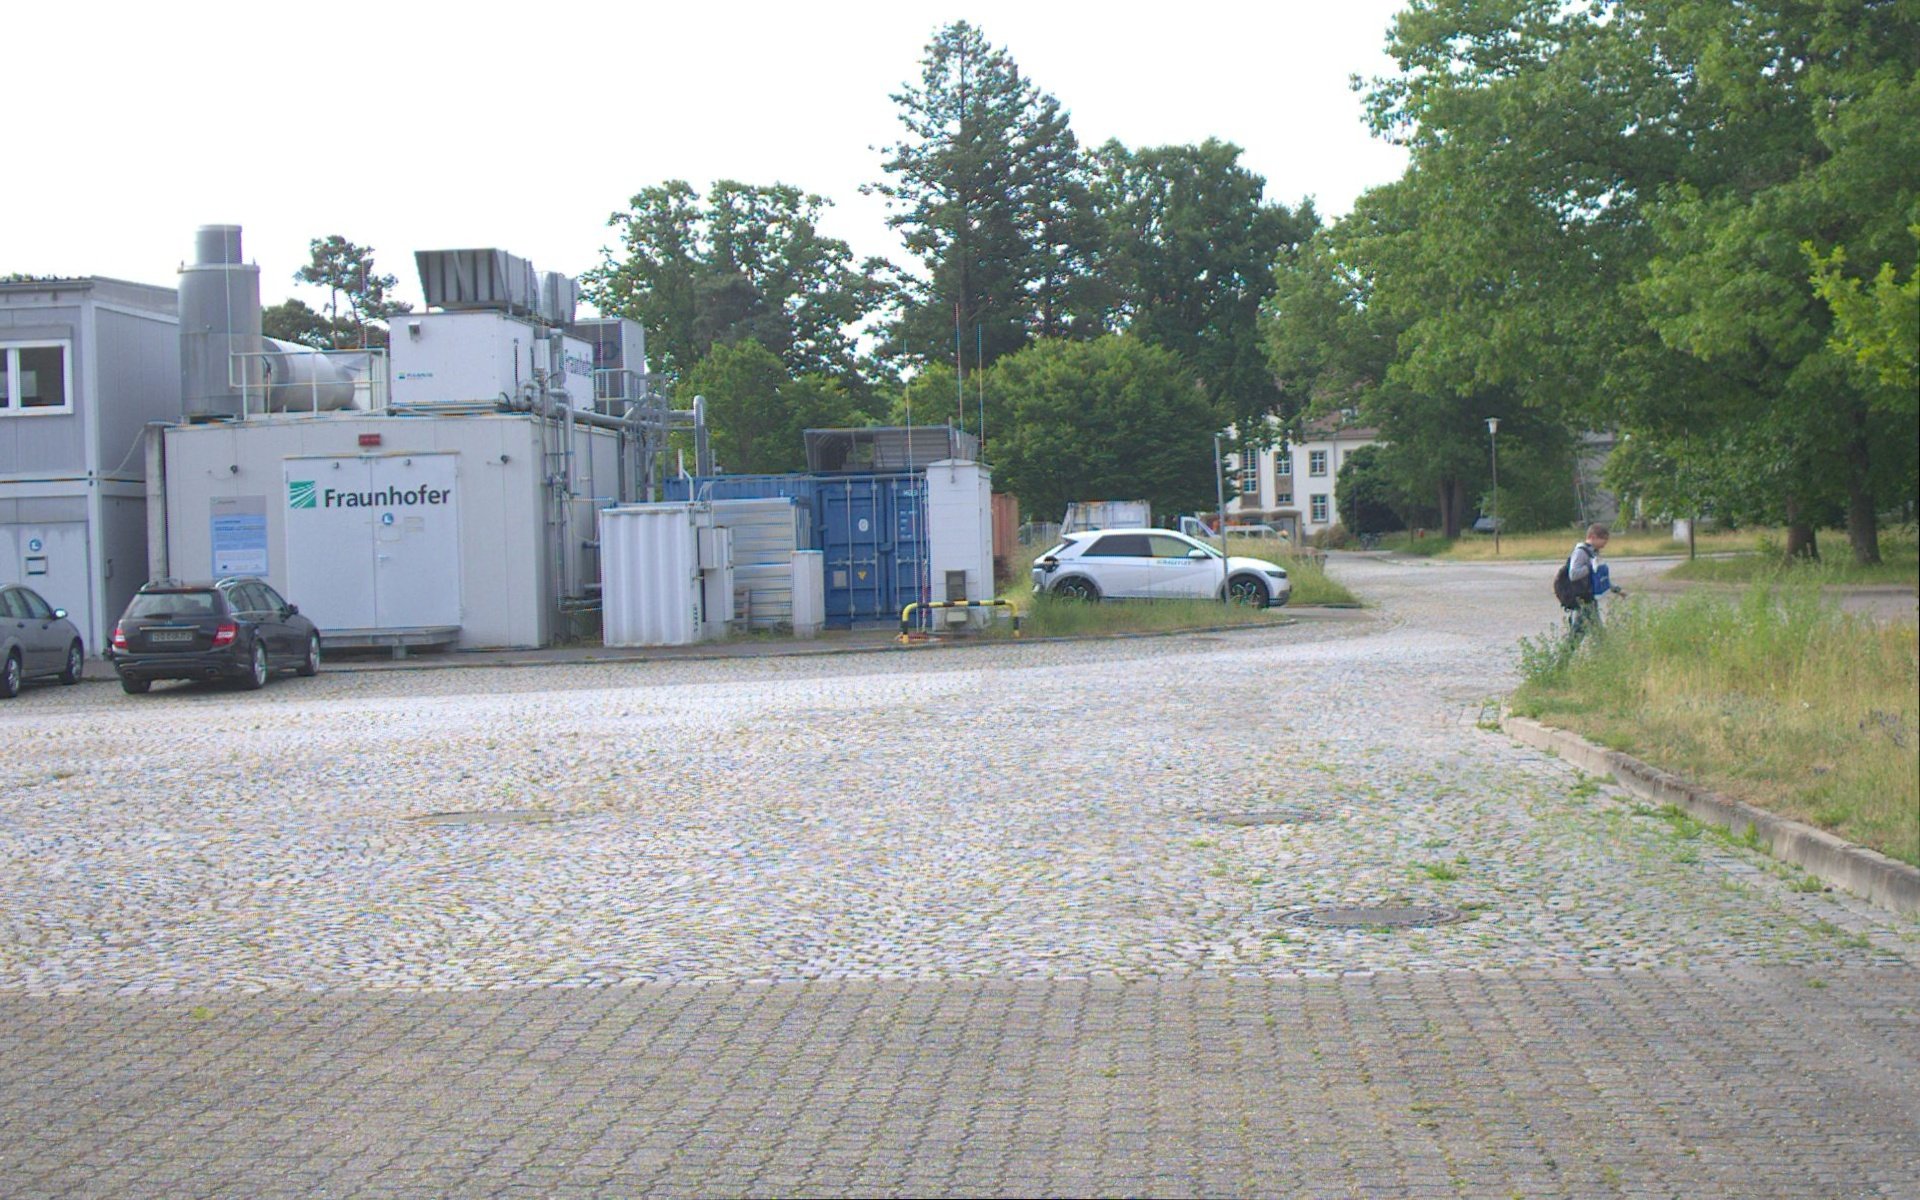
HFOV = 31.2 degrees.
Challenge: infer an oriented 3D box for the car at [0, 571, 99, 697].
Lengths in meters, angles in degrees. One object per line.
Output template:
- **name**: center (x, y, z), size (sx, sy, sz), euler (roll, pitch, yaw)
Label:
- **car**: center (-12.980, 0.444, 45.632), size (1.906, 1.470, 4.047), euler (-2, 2, 2)

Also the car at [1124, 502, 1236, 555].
- **car**: center (10.410, -3.375, 162.792), size (5.171, 2.329, 2.000), euler (-2, 1, 4)

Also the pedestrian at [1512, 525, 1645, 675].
- **pedestrian**: center (6.605, -0.004, 36.681), size (1.077, 1.551, 1.073), euler (-1, 1, 28)

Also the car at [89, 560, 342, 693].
- **car**: center (-9.720, 0.306, 45.256), size (2.036, 1.448, 4.530), euler (-2, 3, 4)

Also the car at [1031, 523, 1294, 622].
- **car**: center (3.649, -0.499, 61.467), size (4.535, 1.594, 2.000), euler (-2, 1, 7)
